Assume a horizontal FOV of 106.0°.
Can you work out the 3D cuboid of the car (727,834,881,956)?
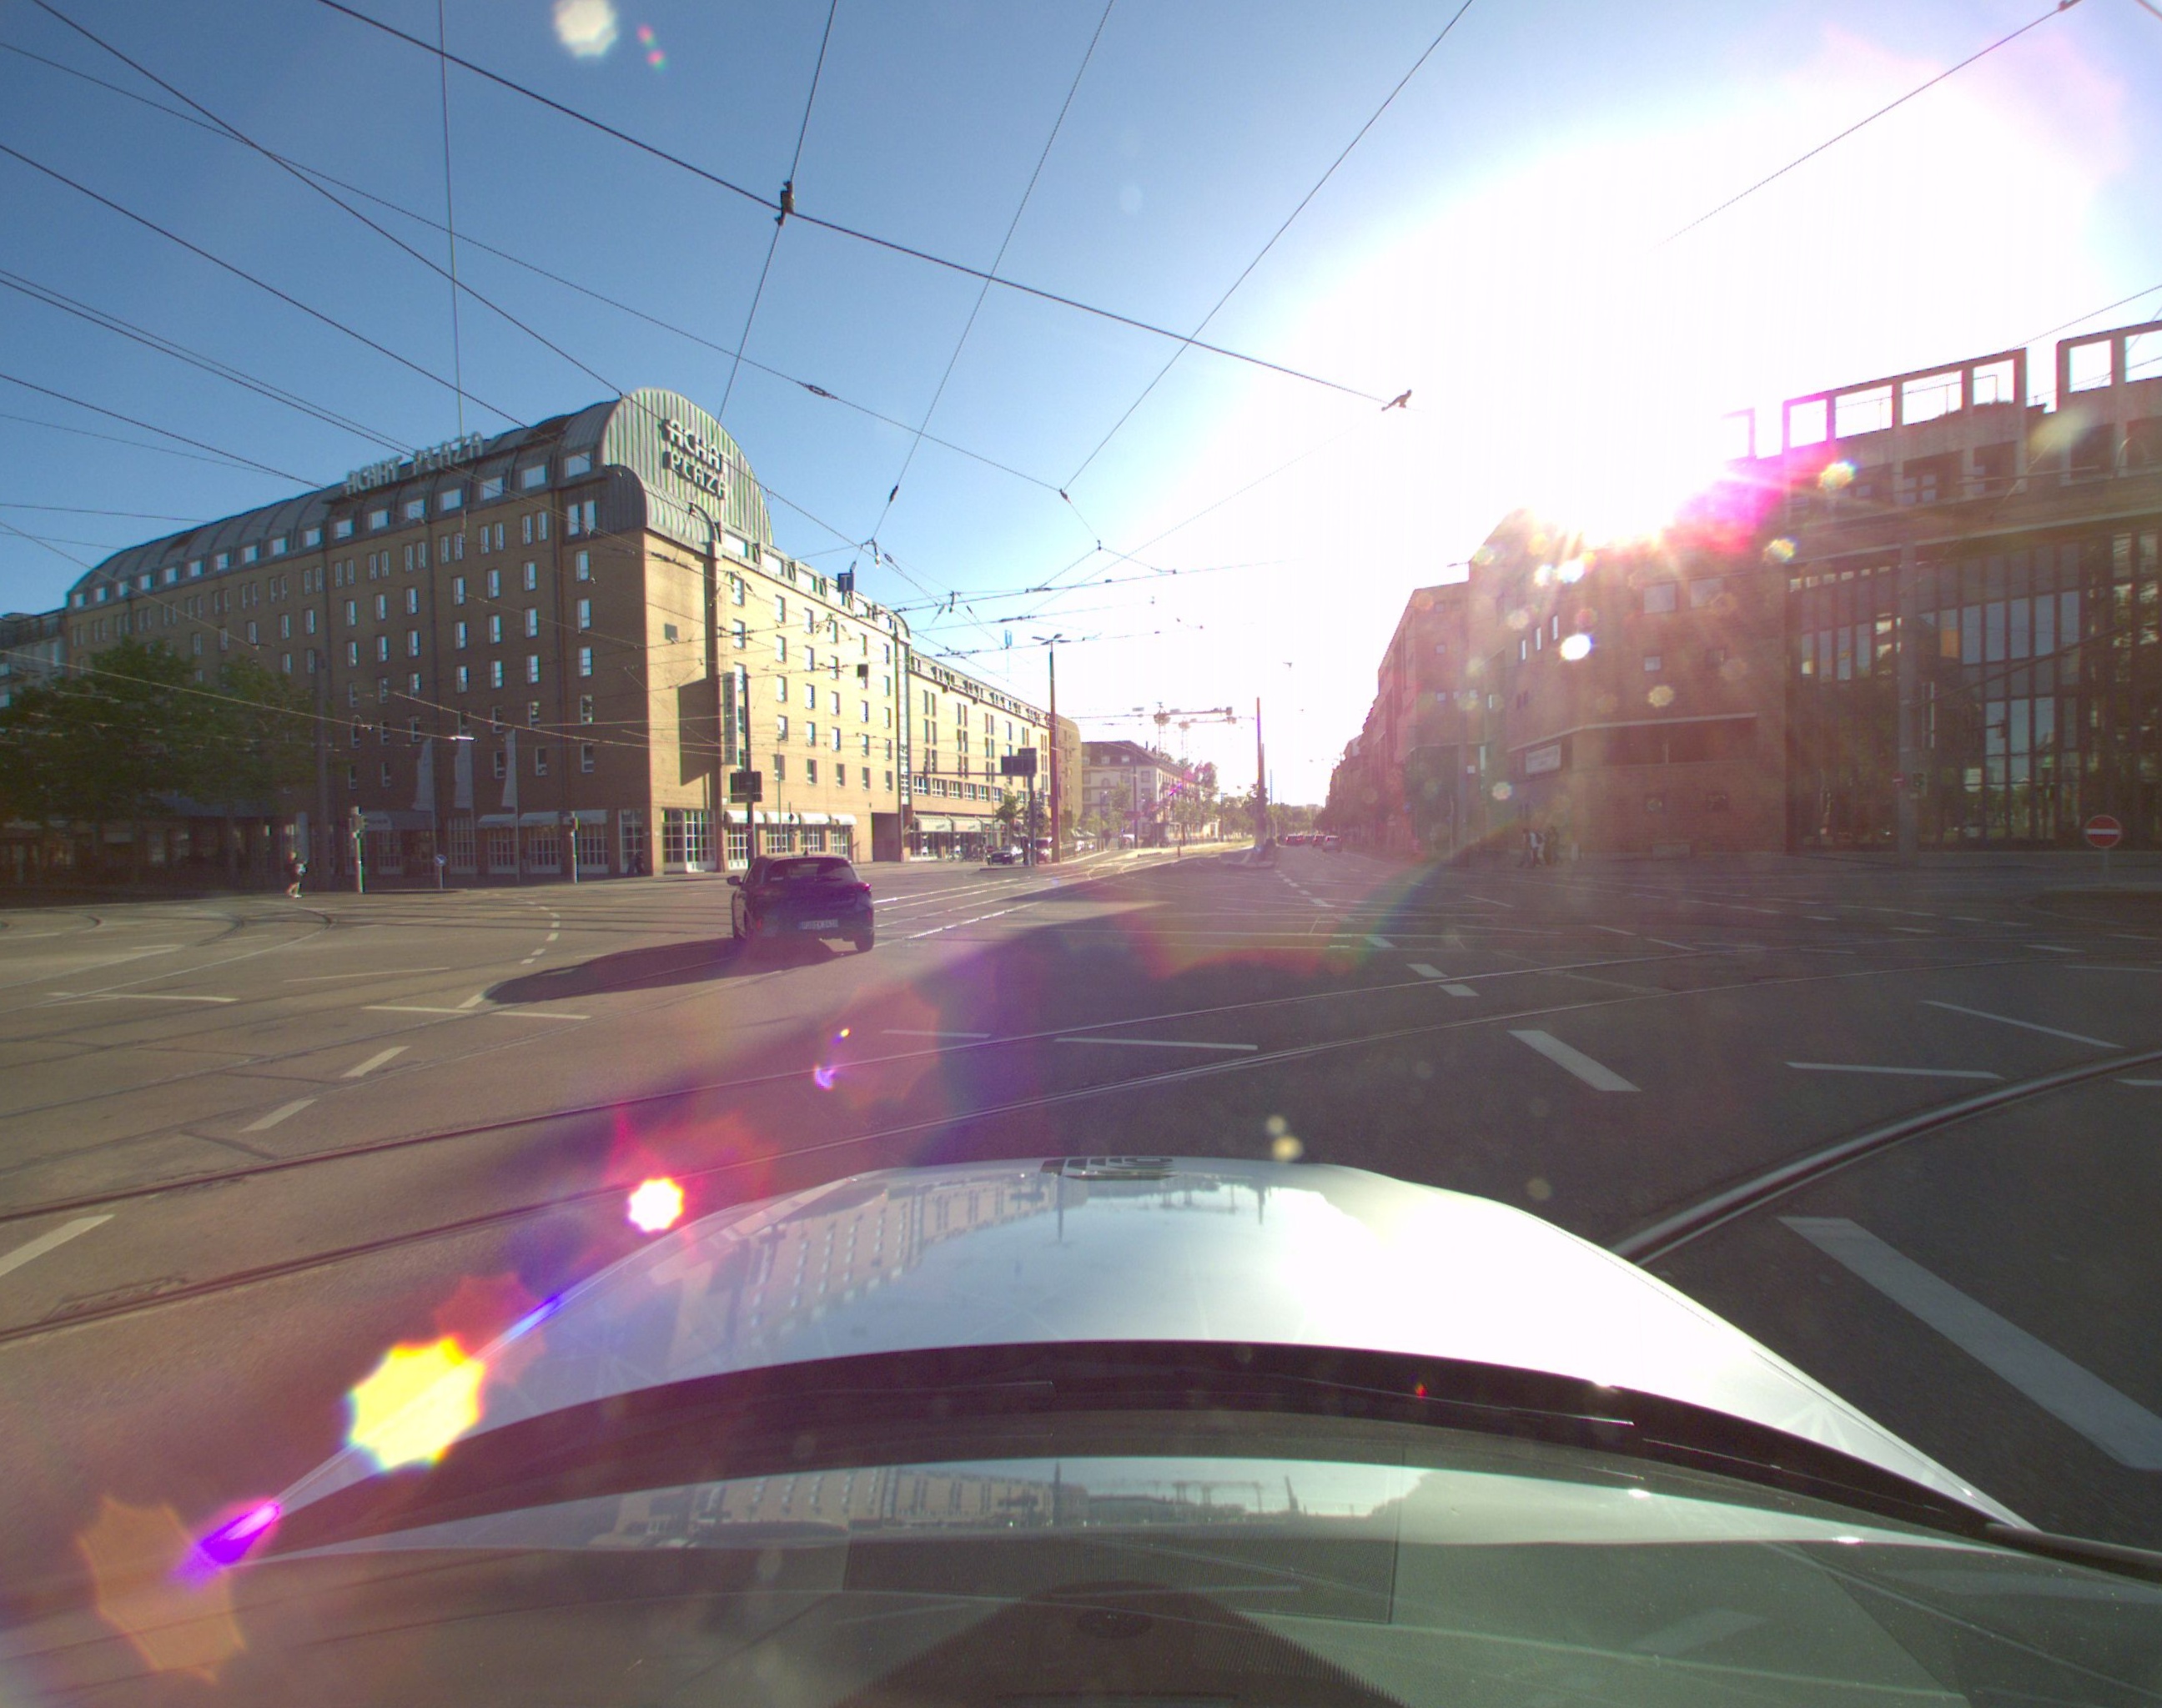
[{"bbox_3d":[-4.345,0.513,12.432,1.681,1.501,3.659,2,1,-27],"label":"car"}]

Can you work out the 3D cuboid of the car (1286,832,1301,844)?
[{"bbox_3d":[28.202,-2.171,107.994,1.707,1.453,3.714,-1,1,16],"label":"car"}]

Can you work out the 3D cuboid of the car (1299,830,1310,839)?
[{"bbox_3d":[36.453,-3.222,132.911,1.707,1.453,3.714,-1,1,16],"label":"car"}]

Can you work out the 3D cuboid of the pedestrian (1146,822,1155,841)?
[{"bbox_3d":[7.090,-2.308,83.355,0.856,1.886,0.738,0,2,5],"label":"pedestrian"}]

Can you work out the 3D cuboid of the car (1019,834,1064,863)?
[{"bbox_3d":[-2.678,-0.436,56.753,1.825,1.835,4.125,-2,1,16],"label":"car"}]

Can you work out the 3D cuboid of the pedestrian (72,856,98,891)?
[{"bbox_3d":[-49.407,0.951,40.395,0.480,1.679,0.609,-1,3,24],"label":"pedestrian"}]

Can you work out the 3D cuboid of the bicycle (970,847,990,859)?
[{"bbox_3d":[-8.606,-0.097,69.315,0.804,0.991,2.519,-1,2,14],"label":"bicycle"}]

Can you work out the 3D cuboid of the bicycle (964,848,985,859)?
[{"bbox_3d":[-10.102,-0.050,77.300,2.015,0.920,0.486,-1,1,26],"label":"bicycle"}]

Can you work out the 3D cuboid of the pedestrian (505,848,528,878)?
[{"bbox_3d":[-32.409,0.511,46.751,0.745,1.665,0.745,-1,2,18],"label":"pedestrian"}]

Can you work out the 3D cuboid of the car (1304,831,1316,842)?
[{"bbox_3d":[34.505,-2.641,122.861,1.707,1.453,3.714,-1,1,16],"label":"car"}]

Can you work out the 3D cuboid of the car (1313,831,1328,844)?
[{"bbox_3d":[28.904,-2.049,98.327,1.658,1.453,3.714,-1,1,16],"label":"car"}]

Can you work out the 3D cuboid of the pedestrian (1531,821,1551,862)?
[{"bbox_3d":[20.126,-0.559,35.671,0.568,1.786,0.550,-2,1,8],"label":"pedestrian"}]

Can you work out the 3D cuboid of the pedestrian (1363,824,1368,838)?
[{"bbox_3d":[37.274,-3.044,106.719,0.635,1.786,0.692,-1,1,18],"label":"pedestrian"}]

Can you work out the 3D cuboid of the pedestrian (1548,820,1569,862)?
[{"bbox_3d":[20.672,-0.573,35.265,0.568,1.786,0.550,-2,1,8],"label":"pedestrian"}]

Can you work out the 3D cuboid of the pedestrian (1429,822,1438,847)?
[{"bbox_3d":[25.709,-1.419,59.351,0.543,1.785,0.576,-1,4,18],"label":"pedestrian"}]

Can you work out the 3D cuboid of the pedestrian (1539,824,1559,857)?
[{"bbox_3d":[20.883,-0.605,36.342,0.546,1.476,0.573,-1,2,-2],"label":"pedestrian"}]

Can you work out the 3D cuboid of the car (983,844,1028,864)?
[{"bbox_3d":[-5.407,-0.015,58.898,1.826,1.268,4.246,-2,1,14],"label":"car"}]

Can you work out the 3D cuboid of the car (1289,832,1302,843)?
[{"bbox_3d":[30.974,-2.399,117.349,1.707,1.453,3.714,-1,1,16],"label":"car"}]

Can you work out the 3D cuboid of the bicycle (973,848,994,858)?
[{"bbox_3d":[-9.389,-0.082,78.423,2.015,0.920,0.486,-1,1,26],"label":"bicycle"}]

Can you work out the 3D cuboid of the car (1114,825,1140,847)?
[{"bbox_3d":[7.032,-2.762,123.584,2.361,2.998,8.502,-1,2,13],"label":"car"}]

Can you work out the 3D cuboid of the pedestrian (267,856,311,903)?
[{"bbox_3d":[-29.558,0.940,30.401,0.708,1.679,0.835,-1,3,17],"label":"pedestrian"}]

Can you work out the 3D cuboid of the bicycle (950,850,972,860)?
[{"bbox_3d":[-10.993,0.105,74.578,2.015,0.845,0.486,-1,1,26],"label":"bicycle"}]

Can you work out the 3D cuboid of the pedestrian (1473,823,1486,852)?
[{"bbox_3d":[25.501,-1.050,52.108,0.635,1.786,0.692,-1,1,18],"label":"pedestrian"}]

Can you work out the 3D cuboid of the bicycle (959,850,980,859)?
[{"bbox_3d":[-10.423,0.058,75.951,2.015,0.845,0.486,-1,1,26],"label":"bicycle"}]

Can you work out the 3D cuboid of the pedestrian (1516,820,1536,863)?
[{"bbox_3d":[18.972,-0.537,34.734,0.568,1.786,0.550,-2,1,8],"label":"pedestrian"}]

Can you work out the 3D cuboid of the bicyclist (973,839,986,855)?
[{"bbox_3d":[-8.634,-0.594,69.265,0.804,1.376,0.929,-1,1,14],"label":"bicyclist"}]

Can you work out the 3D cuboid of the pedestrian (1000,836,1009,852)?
[{"bbox_3d":[-8.522,-1.082,90.884,0.711,1.764,0.568,-2,1,18],"label":"pedestrian"}]

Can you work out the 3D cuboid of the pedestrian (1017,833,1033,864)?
[{"bbox_3d":[-3.229,-0.320,46.842,0.715,1.726,0.597,-1,1,16],"label":"pedestrian"}]

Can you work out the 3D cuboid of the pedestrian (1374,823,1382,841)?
[{"bbox_3d":[30.171,-2.202,82.779,0.635,1.786,0.691,-1,1,16],"label":"pedestrian"}]

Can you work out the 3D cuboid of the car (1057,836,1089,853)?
[{"bbox_3d":[-0.734,-0.904,75.043,1.826,1.448,4.315,-2,1,14],"label":"car"}]

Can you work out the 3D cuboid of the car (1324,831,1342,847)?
[{"bbox_3d":[23.775,-1.437,76.828,1.548,1.456,3.446,-1,2,16],"label":"car"}]

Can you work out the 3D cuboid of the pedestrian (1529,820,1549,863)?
[{"bbox_3d":[19.606,-0.534,34.866,0.568,1.786,0.550,-2,1,8],"label":"pedestrian"}]

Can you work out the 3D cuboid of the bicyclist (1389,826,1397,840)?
[{"bbox_3d":[29.302,-1.967,76.395,0.641,1.339,0.655,-1,1,17],"label":"bicyclist"}]

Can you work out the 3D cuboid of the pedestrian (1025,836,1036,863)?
[{"bbox_3d":[-3.046,-0.270,49.160,0.578,1.576,0.647,-1,1,2],"label":"pedestrian"}]

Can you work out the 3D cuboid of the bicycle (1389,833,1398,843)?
[{"bbox_3d":[29.284,-1.497,76.324,0.643,0.904,2.356,-1,1,17],"label":"bicycle"}]
